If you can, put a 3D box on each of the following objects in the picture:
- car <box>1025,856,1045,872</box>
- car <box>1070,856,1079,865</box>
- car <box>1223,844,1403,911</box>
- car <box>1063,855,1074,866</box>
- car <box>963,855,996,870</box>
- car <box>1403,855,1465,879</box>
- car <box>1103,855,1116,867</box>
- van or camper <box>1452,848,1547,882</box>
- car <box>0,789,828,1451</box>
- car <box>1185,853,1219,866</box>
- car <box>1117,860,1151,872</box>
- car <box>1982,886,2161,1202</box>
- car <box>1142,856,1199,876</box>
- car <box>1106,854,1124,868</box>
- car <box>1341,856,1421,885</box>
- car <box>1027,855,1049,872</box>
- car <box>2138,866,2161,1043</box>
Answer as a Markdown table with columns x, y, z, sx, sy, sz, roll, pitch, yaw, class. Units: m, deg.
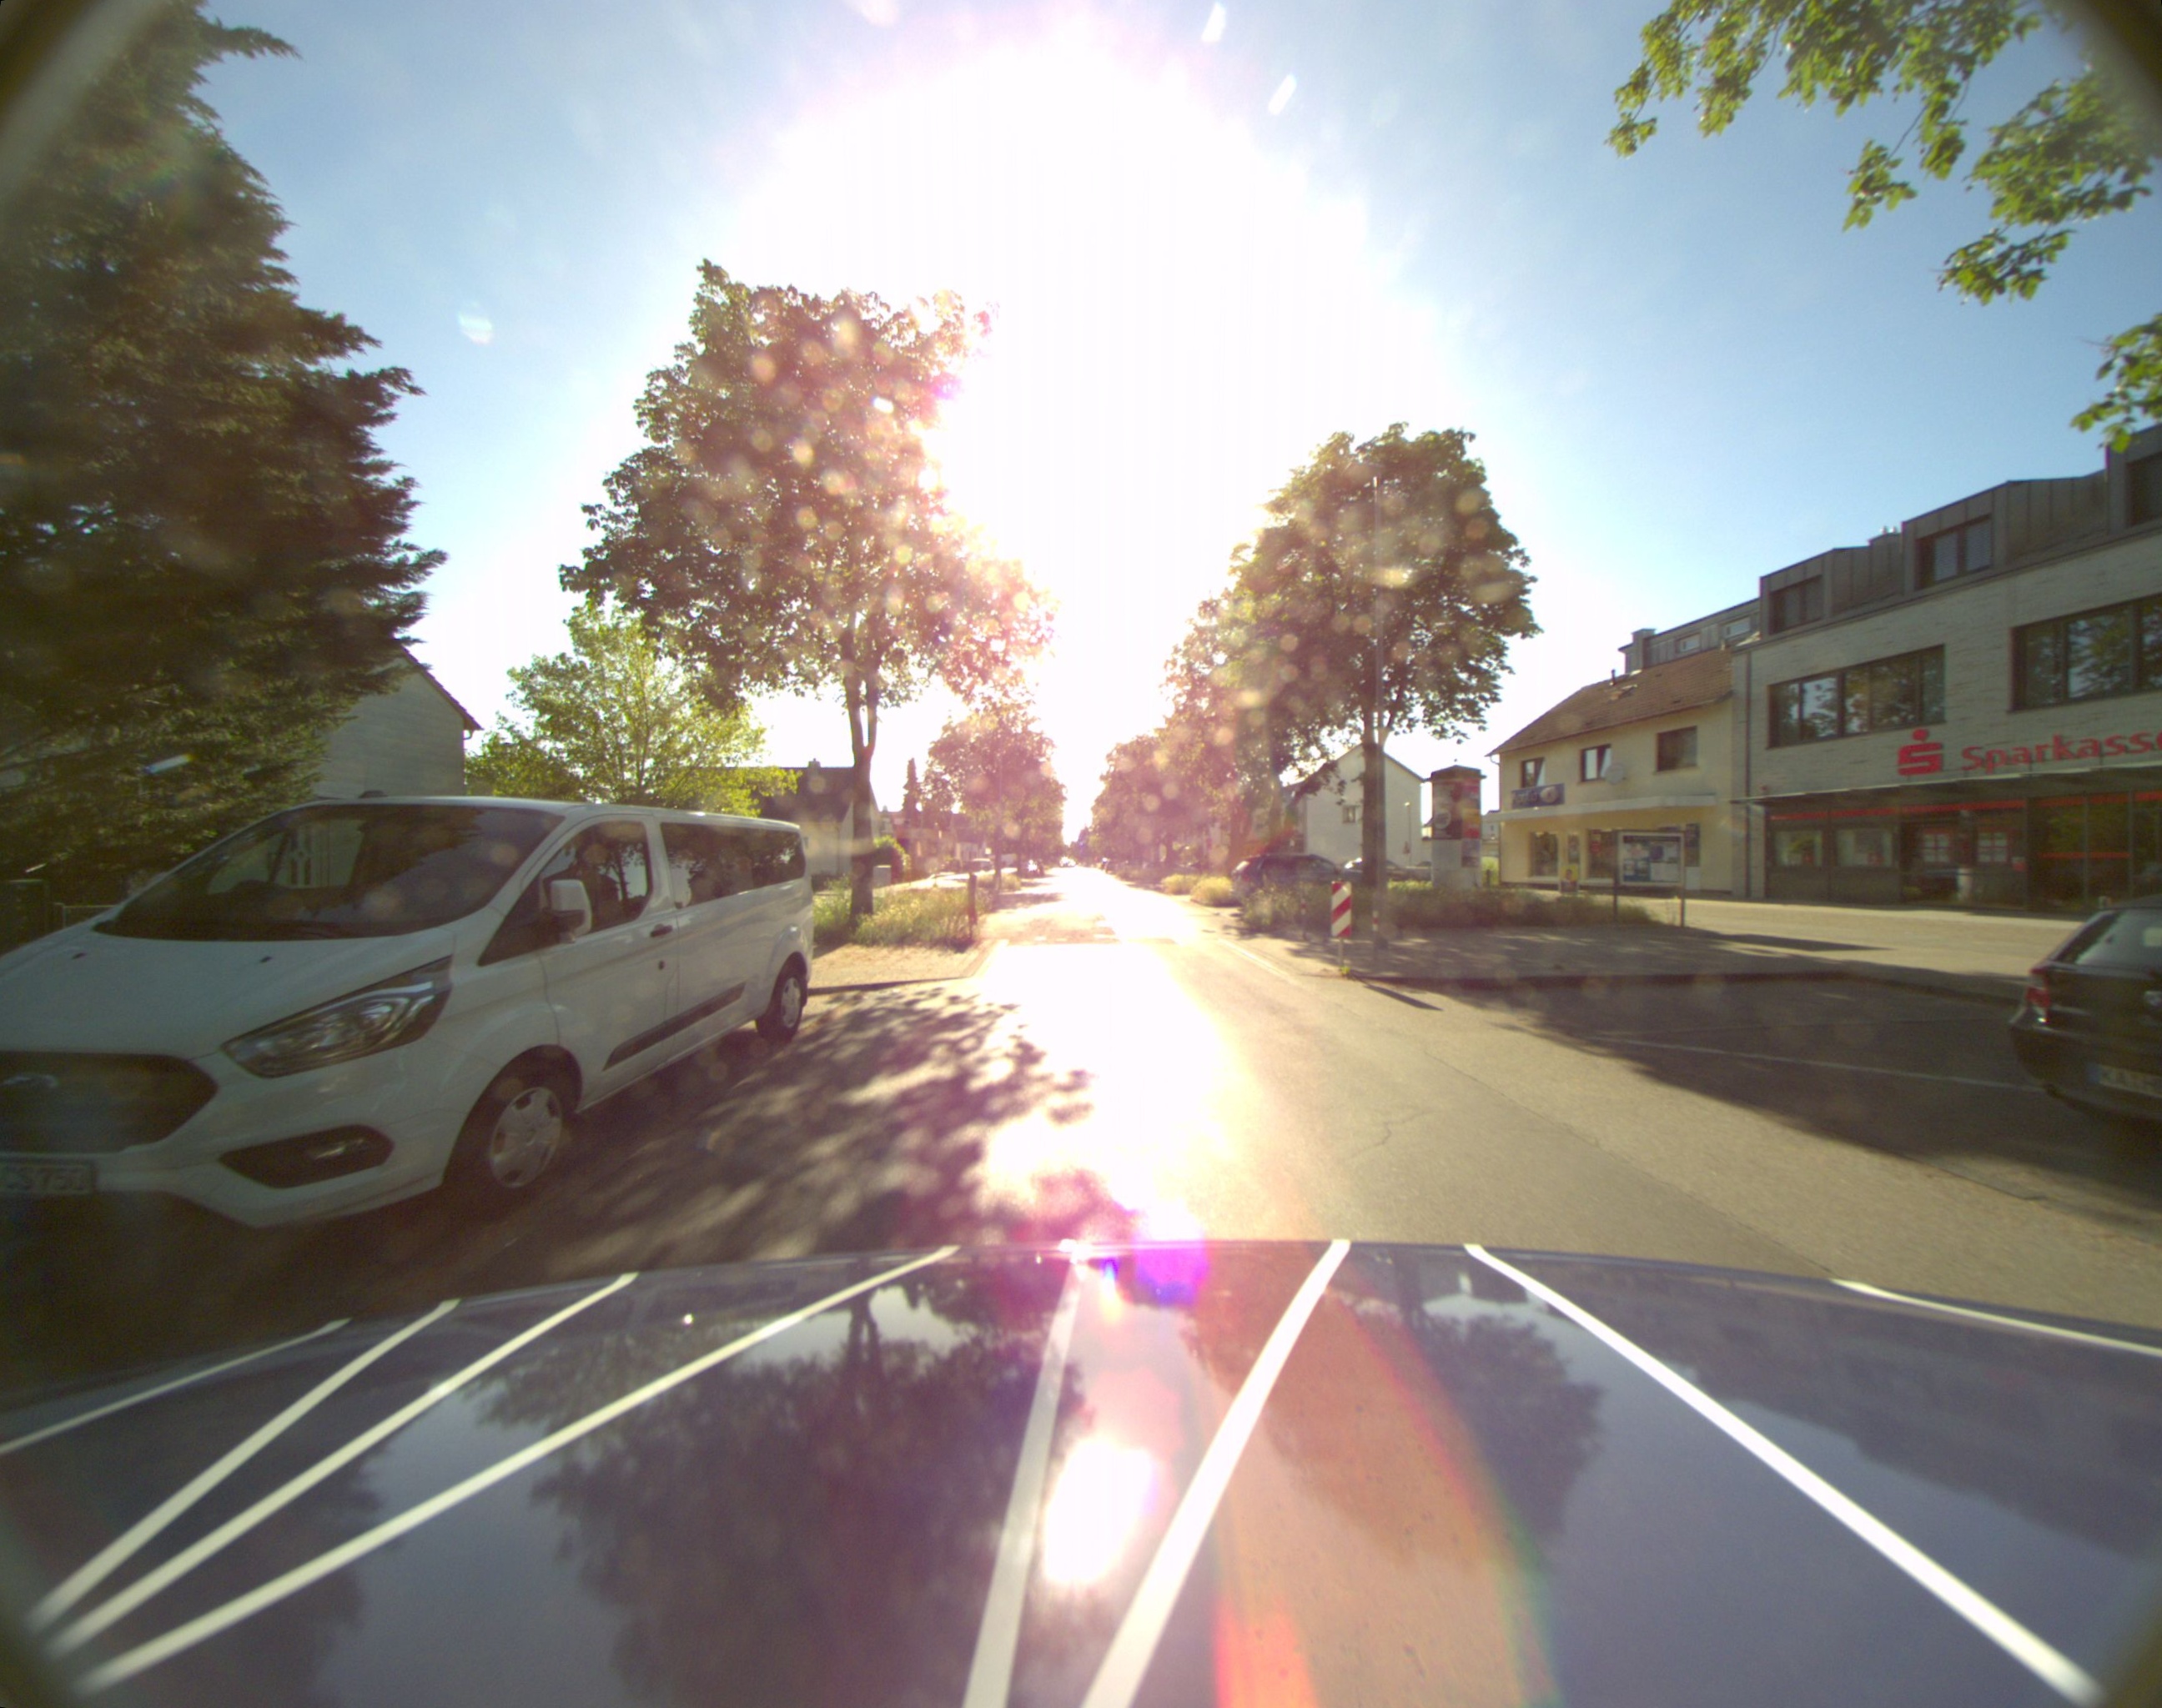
| x | y | z | sx | sy | sz | roll | pitch | yaw | class |
| --- | --- | --- | --- | --- | --- | --- | --- | --- | --- |
| -4.331 | 0.948 | 72.098 | 1.690 | 1.414 | 3.777 | 1 | 1 | 0 | car |
| -1.228 | 1.257 | 146.919 | 1.539 | 1.582 | 3.458 | -4 | 1 | 1 | car |
| 7.379 | 0.716 | 24.448 | 5.076 | 1.718 | 1.999 | -4 | 1 | -5 | car |
| -2.031 | 1.073 | 124.313 | 1.539 | 1.582 | 3.458 | -4 | 1 | 1 | car |
| -11.574 | 0.916 | 86.754 | 3.622 | 1.431 | 1.695 | -4 | 1 | -4 | car |
| 25.397 | 0.915 | 54.866 | 1.877 | 1.519 | 4.665 | 0 | 2 | -6 | car |
| 3.966 | 0.939 | 105.569 | 1.815 | 1.722 | 4.055 | 0 | 0 | 1 | car |
| 25.295 | 0.649 | 46.013 | 4.685 | 2.002 | 1.999 | 0 | 1 | -3 | van or camper |
| -3.499 | 0.839 | 4.946 | 1.999 | 2.002 | 5.194 | -4 | 1 | -2 | car |
| 14.228 | 0.640 | 89.500 | 3.773 | 1.556 | 1.691 | 1 | 1 | 2 | car |
| 6.213 | 1.411 | 89.373 | 3.695 | 1.315 | 1.624 | -2 | 1 | -7 | car |
| 7.183 | 0.868 | 3.493 | 3.996 | 1.441 | 1.639 | -3 | 1 | 2 | car |
| 7.256 | 0.949 | 62.036 | 4.393 | 1.408 | 1.999 | -2 | 1 | -2 | car |
| 4.203 | 0.880 | 94.255 | 1.998 | 1.530 | 3.694 | -4 | 1 | 1 | car |
| 17.957 | 0.982 | 45.544 | 3.999 | 1.628 | 1.999 | 1 | 0 | -7 | car |
| -4.410 | 0.933 | 78.176 | 1.941 | 1.684 | 4.362 | -1 | 0 | 1 | car |
| 11.471 | 0.824 | 6.029 | 3.999 | 1.533 | 1.869 | -2 | 1 | -6 | car |
